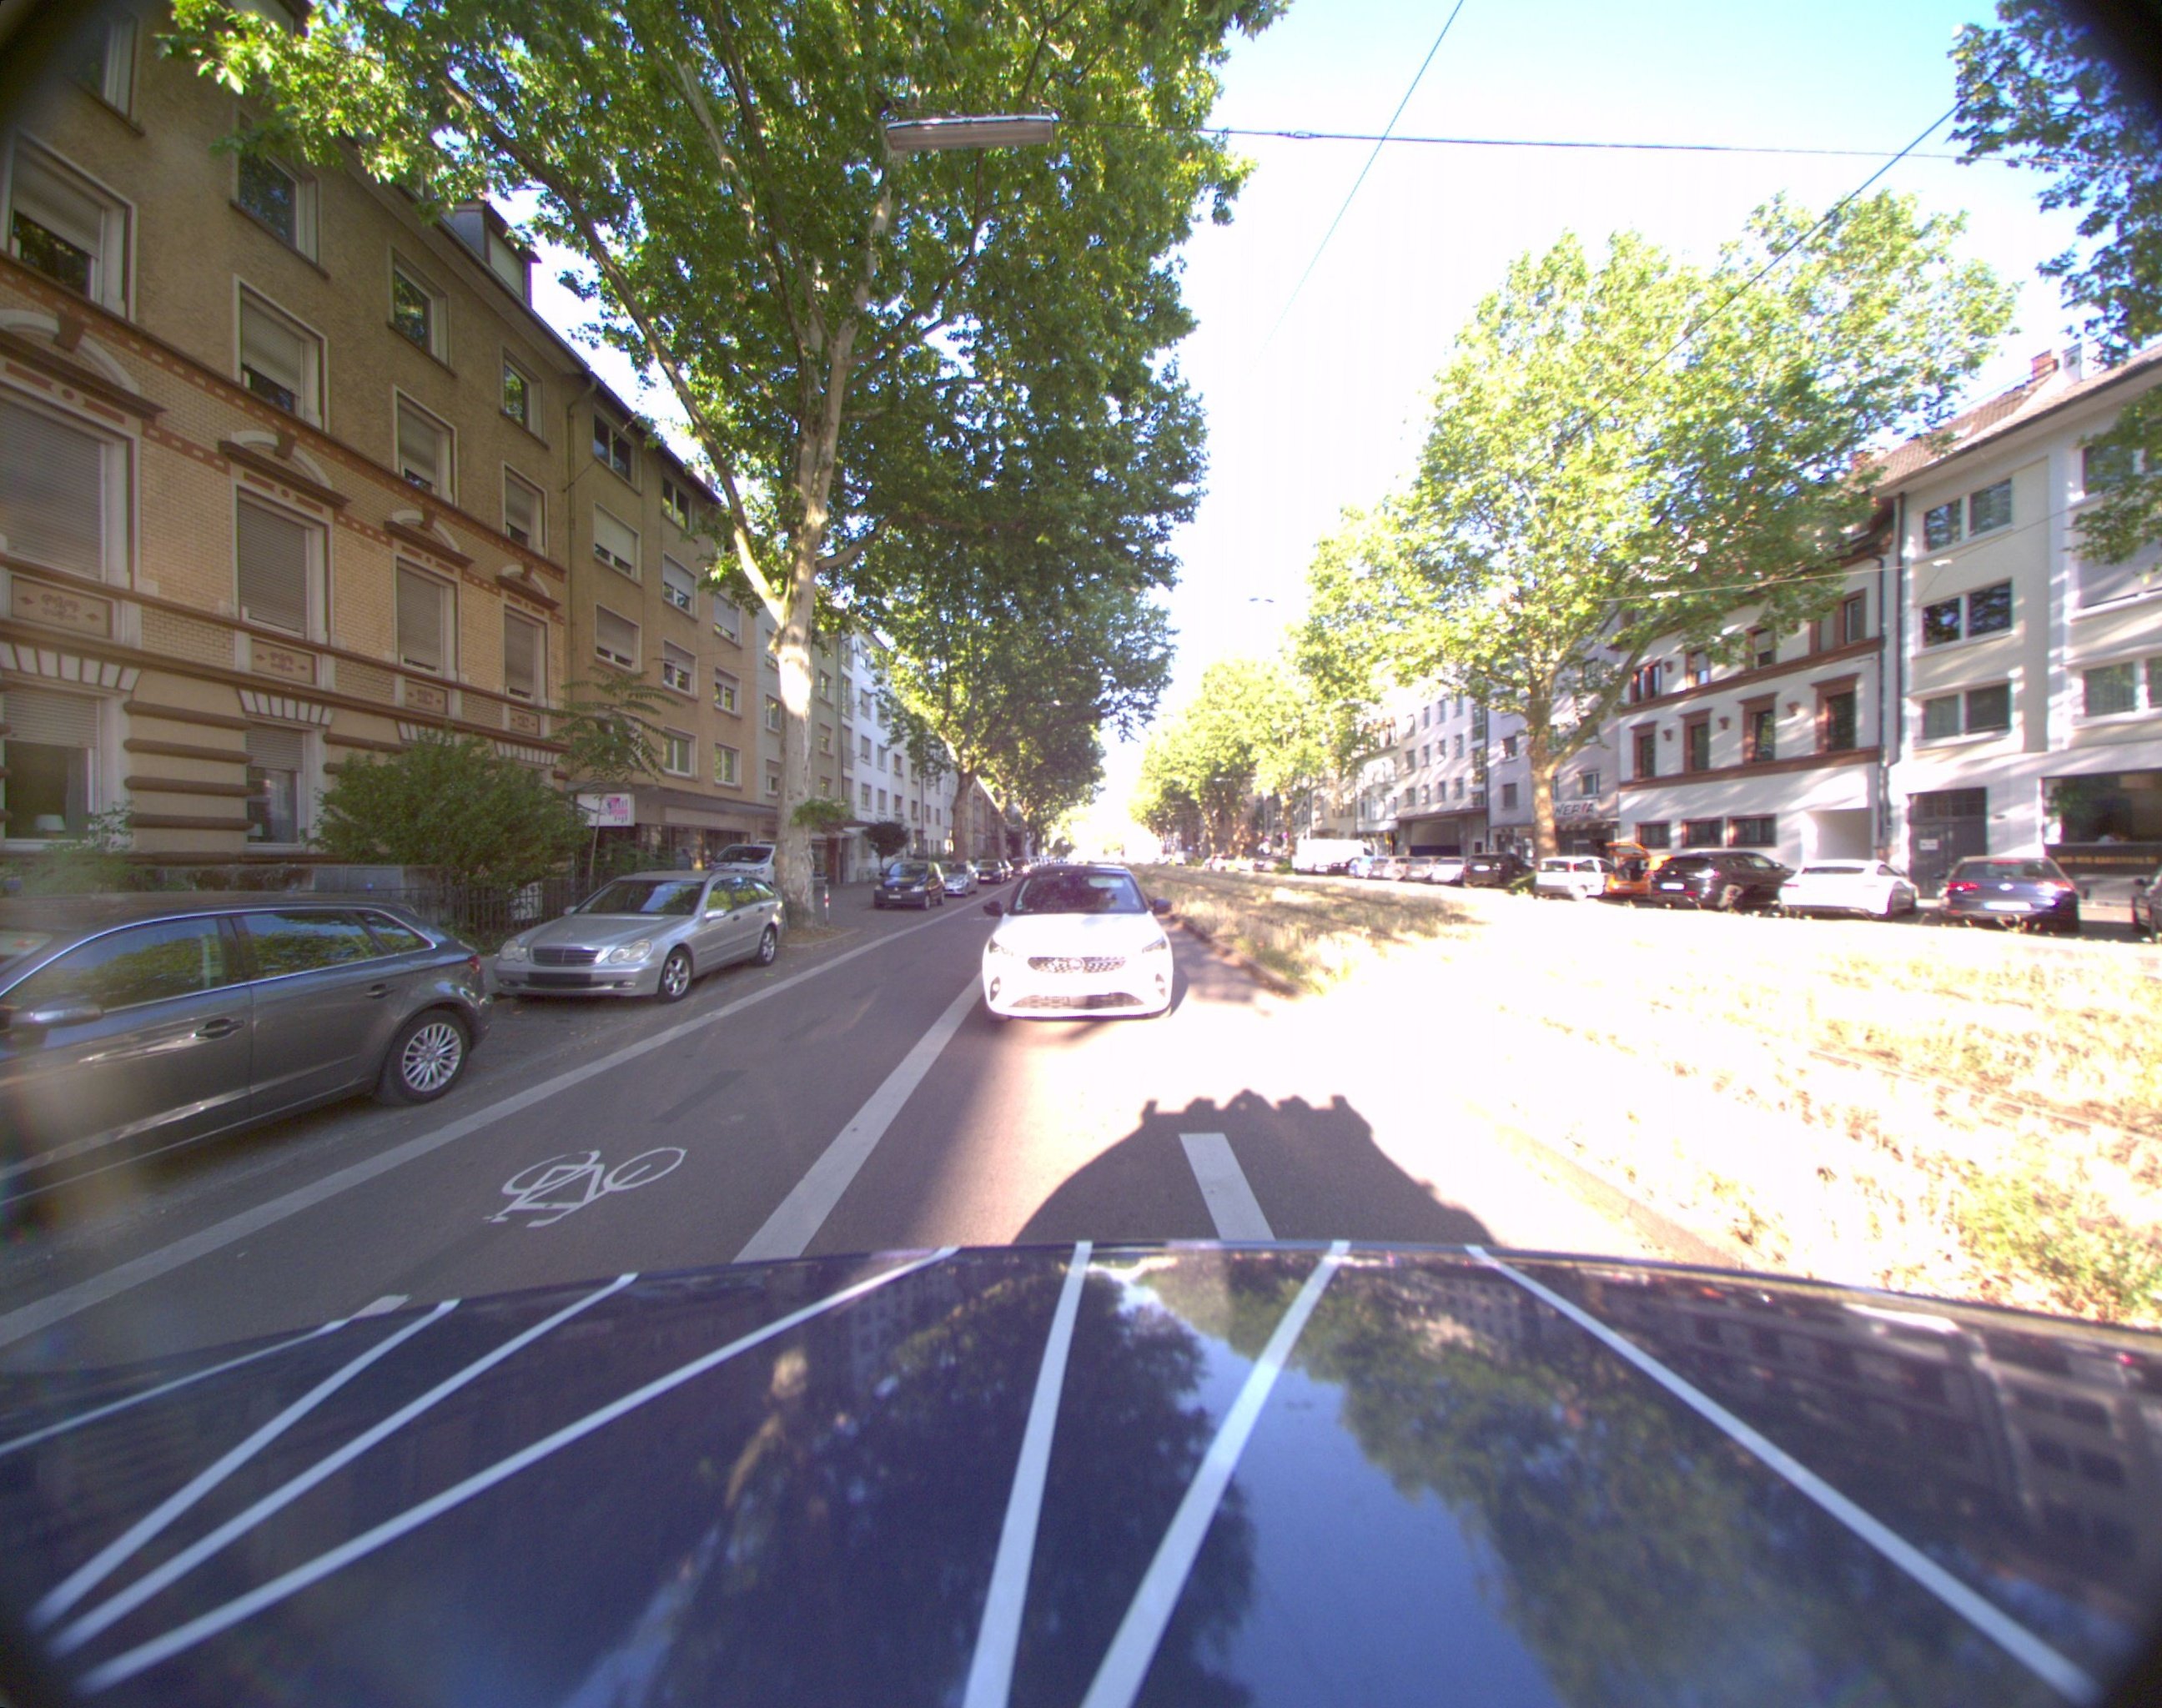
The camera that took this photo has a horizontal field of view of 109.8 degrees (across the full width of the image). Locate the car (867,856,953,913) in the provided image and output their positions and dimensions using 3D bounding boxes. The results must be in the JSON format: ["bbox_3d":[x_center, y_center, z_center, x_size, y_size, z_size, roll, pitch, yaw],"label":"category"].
[{"bbox_3d":[-5.407,0.899,24.583,1.803,1.599,4.369,2,0,0],"label":"car"}]

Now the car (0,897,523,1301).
[{"bbox_3d":[-5.202,1.064,3.623,1.802,1.393,4.370,2,0,1],"label":"car"}]

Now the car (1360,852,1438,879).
[{"bbox_3d":[18.880,0.670,45.158,4.004,1.509,1.996,0,0,-20],"label":"car"}]

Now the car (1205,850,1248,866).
[{"bbox_3d":[15.971,0.467,83.656,4.234,1.696,1.999,0,0,-4],"label":"car"}]

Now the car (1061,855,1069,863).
[{"bbox_3d":[-4.600,1.417,216.191,1.998,2.002,4.000,-2,1,1],"label":"car"}]

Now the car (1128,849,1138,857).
[{"bbox_3d":[16.594,-0.382,243.136,2.963,2.407,6.327,-2,1,1],"label":"car"}]

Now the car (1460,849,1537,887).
[{"bbox_3d":[18.800,0.591,34.141,4.266,1.605,1.902,-1,1,-44],"label":"car"}]

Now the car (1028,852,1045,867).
[{"bbox_3d":[-5.444,0.697,92.977,1.803,1.742,4.104,2,0,-1],"label":"car"}]

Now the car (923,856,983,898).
[{"bbox_3d":[-5.338,0.907,32.254,1.803,1.599,4.369,2,0,0],"label":"car"}]

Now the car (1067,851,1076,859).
[{"bbox_3d":[-2.444,0.149,197.939,1.998,2.002,3.999,-2,1,0],"label":"car"}]

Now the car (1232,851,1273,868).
[{"bbox_3d":[18.382,0.573,81.406,4.005,1.696,1.995,-1,1,-27],"label":"car"}]

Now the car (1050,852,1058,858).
[{"bbox_3d":[-8.646,0.241,247.205,1.998,1.850,4.001,-2,1,5],"label":"car"}]

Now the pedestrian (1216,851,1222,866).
[{"bbox_3d":[15.052,0.472,82.780,0.620,1.588,0.422,0,1,1],"label":"pedestrian"}]

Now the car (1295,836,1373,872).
[{"bbox_3d":[19.191,-0.025,57.589,5.619,2.684,2.176,-1,1,-24],"label":"car"}]

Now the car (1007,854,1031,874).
[{"bbox_3d":[-5.362,0.832,66.262,1.803,1.599,4.104,2,0,-1],"label":"car"}]

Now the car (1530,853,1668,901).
[{"bbox_3d":[18.140,0.766,26.647,4.260,1.548,1.641,0,1,-15],"label":"car"}]

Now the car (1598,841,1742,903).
[{"bbox_3d":[19.490,0.563,25.154,4.260,1.932,1.514,0,1,-15],"label":"car"}]

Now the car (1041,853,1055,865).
[{"bbox_3d":[-4.722,0.707,110.142,1.803,1.598,3.702,2,0,-1],"label":"car"}]

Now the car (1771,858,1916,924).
[{"bbox_3d":[18.586,0.804,18.468,4.266,1.369,2.147,-1,0,-40],"label":"car"}]

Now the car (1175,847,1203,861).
[{"bbox_3d":[18.490,-0.019,129.804,4.952,2.200,2.096,-1,1,-42],"label":"car"}]

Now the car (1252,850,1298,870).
[{"bbox_3d":[18.653,0.575,73.033,4.005,1.805,1.995,-1,1,-27],"label":"car"}]

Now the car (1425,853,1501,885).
[{"bbox_3d":[18.973,0.697,37.686,4.265,1.451,1.598,-1,1,-36],"label":"car"}]

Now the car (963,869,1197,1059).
[{"bbox_3d":[-0.019,0.927,8.127,1.865,1.394,3.931,-2,0,0],"label":"car"}]

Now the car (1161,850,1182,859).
[{"bbox_3d":[18.305,0.035,153.737,3.994,1.802,1.874,0,1,10],"label":"car"}]

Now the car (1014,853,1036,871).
[{"bbox_3d":[-5.406,0.777,73.470,1.803,1.599,4.104,2,0,-1],"label":"car"}]

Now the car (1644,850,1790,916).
[{"bbox_3d":[18.222,0.739,21.731,4.265,1.674,2.147,-1,1,-34],"label":"car"}]

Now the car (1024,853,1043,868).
[{"bbox_3d":[-5.379,0.745,86.556,1.803,1.599,4.104,2,0,-1],"label":"car"}]

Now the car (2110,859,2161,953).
[{"bbox_3d":[19.039,0.821,12.713,3.979,1.424,1.738,-1,-1,-42],"label":"car"}]

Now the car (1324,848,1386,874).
[{"bbox_3d":[19.744,0.454,54.804,4.005,1.805,1.995,-1,1,-27],"label":"car"}]

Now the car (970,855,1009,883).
[{"bbox_3d":[-5.463,0.861,45.623,1.803,1.494,4.369,2,0,0],"label":"car"}]

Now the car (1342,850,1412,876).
[{"bbox_3d":[18.792,0.555,48.285,4.005,1.608,1.995,-1,0,-27],"label":"car"}]

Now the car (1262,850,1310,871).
[{"bbox_3d":[18.831,0.584,69.761,4.005,1.805,1.995,-1,1,-27],"label":"car"}]

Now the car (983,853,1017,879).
[{"bbox_3d":[-5.386,0.777,50.879,1.803,1.599,4.369,2,0,0],"label":"car"}]

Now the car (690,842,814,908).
[{"bbox_3d":[-10.374,0.592,24.383,1.933,1.864,4.677,2,0,0],"label":"car"}]

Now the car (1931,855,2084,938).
[{"bbox_3d":[19.337,0.793,16.024,3.979,1.495,1.827,-1,1,-42],"label":"car"}]

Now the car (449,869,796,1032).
[{"bbox_3d":[-5.384,1.009,9.788,1.803,1.446,4.511,2,0,-1],"label":"car"}]

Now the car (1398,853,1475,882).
[{"bbox_3d":[19.208,0.680,40.963,4.265,1.449,1.902,-1,0,-36],"label":"car"}]
